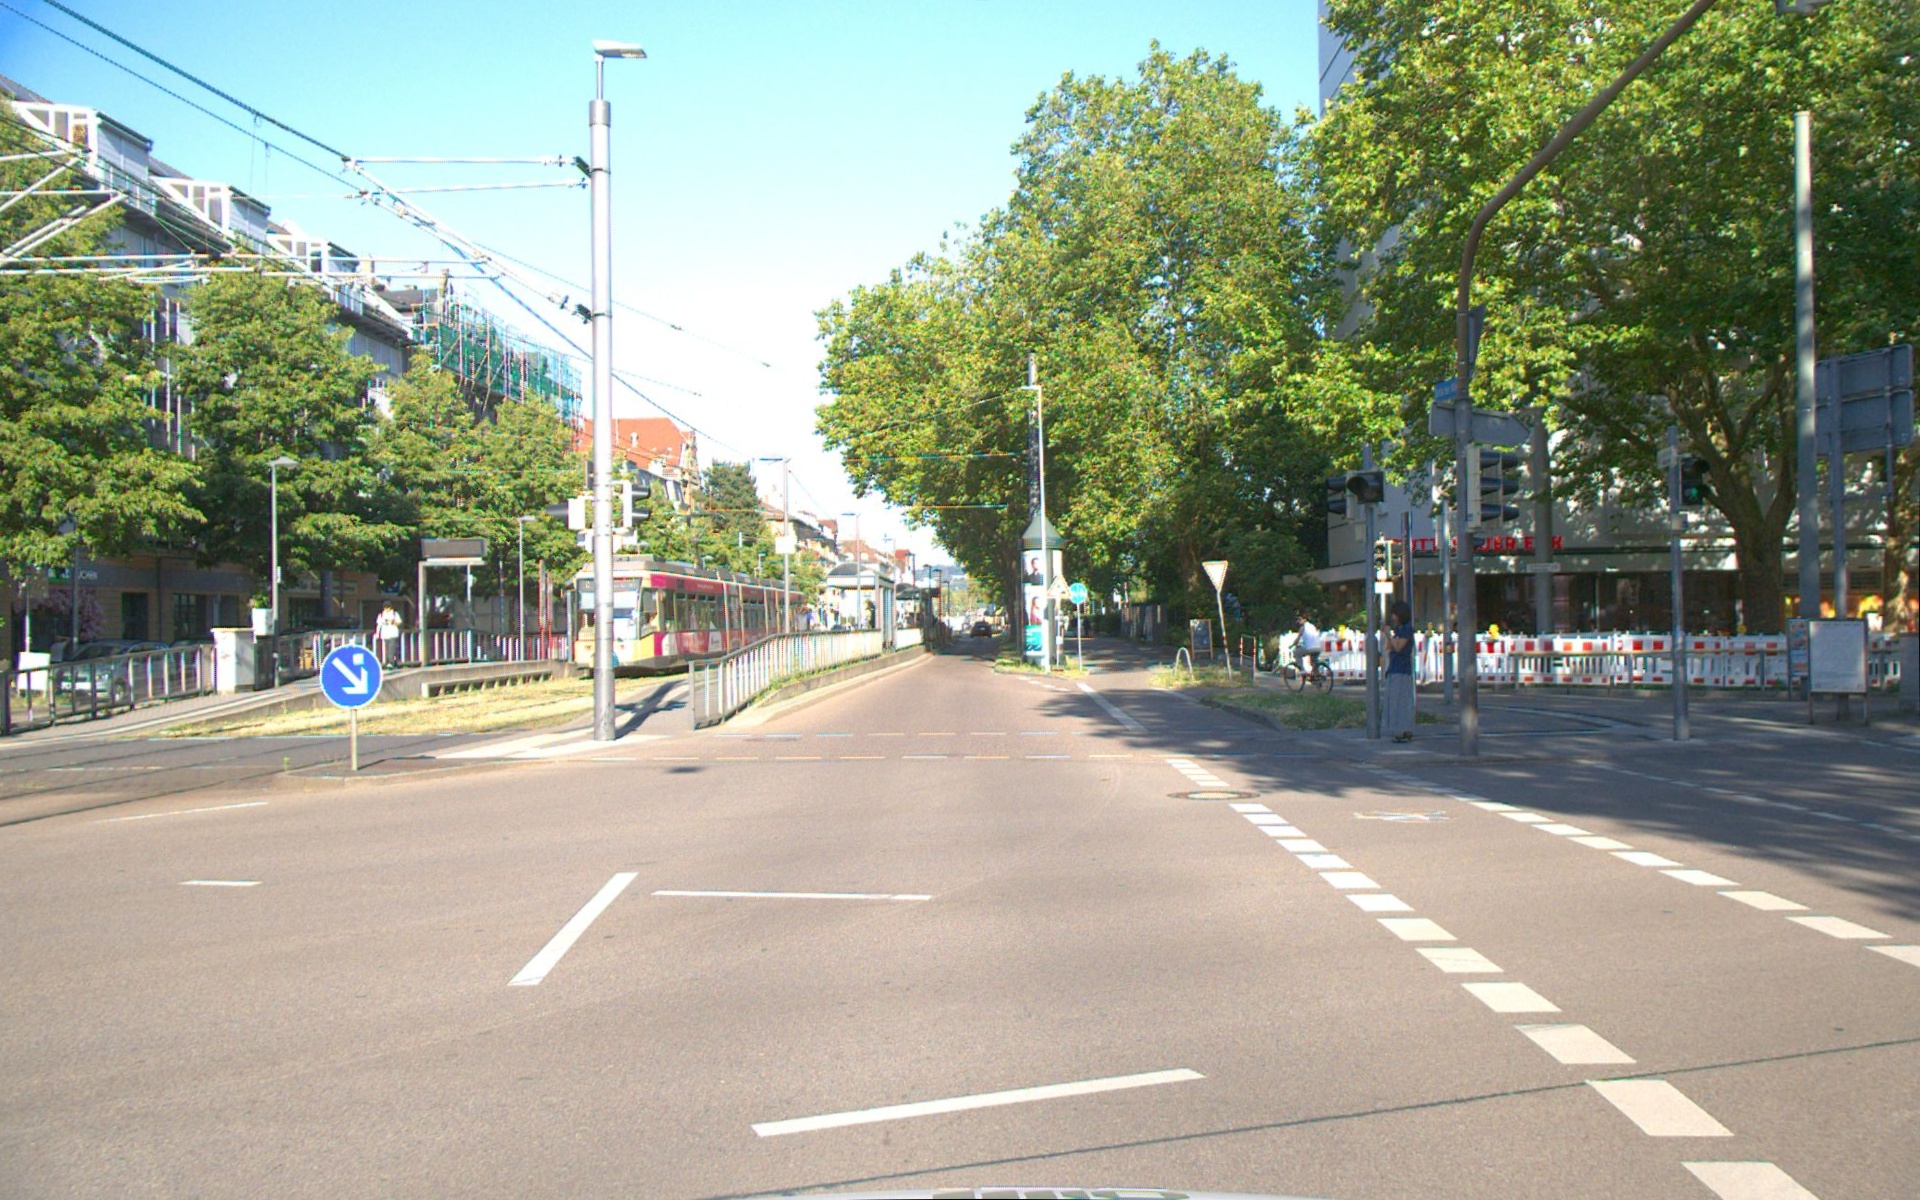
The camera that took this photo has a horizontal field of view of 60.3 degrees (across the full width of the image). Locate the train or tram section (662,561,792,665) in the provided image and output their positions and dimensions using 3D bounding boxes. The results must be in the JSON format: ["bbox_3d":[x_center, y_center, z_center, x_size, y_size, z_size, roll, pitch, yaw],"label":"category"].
[{"bbox_3d":[-9.249,0.583,67.676,2.810,3.750,14.562,-1,-1,1],"label":"train or tram section"}]

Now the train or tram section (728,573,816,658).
[{"bbox_3d":[-8.941,0.777,79.788,2.810,3.750,9.685,-1,-1,1],"label":"train or tram section"}]

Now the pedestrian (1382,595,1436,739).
[{"bbox_3d":[5.302,0.780,19.566,0.419,1.668,0.612,0,-1,-6],"label":"pedestrian"}]

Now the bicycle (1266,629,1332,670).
[{"bbox_3d":[9.113,1.316,44.582,0.597,1.044,1.933,-1,0,-30],"label":"bicycle"}]

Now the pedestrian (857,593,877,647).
[{"bbox_3d":[-3.437,0.735,60.882,0.655,1.936,0.824,1,-1,0],"label":"pedestrian"}]

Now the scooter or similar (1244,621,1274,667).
[{"bbox_3d":[8.542,1.251,47.261,0.549,1.279,1.289,-2,-1,-2],"label":"scooter or similar"}]

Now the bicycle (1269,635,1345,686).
[{"bbox_3d":[7.342,1.276,35.070,0.596,1.044,1.751,-1,-1,-27],"label":"bicycle"}]

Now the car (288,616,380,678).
[{"bbox_3d":[-23.262,1.728,61.579,1.900,2.204,3.785,1,-1,1],"label":"car"}]

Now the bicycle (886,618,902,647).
[{"bbox_3d":[-2.683,1.333,67.603,0.502,1.153,2.104,1,-1,1],"label":"bicycle"}]

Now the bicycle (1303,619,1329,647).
[{"bbox_3d":[15.618,1.450,72.559,0.772,1.198,1.820,1,-1,1],"label":"bicycle"}]

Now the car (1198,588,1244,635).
[{"bbox_3d":[15.005,0.688,95.330,1.952,2.543,6.348,1,-1,3],"label":"car"}]

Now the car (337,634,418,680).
[{"bbox_3d":[-23.137,2.240,65.838,1.769,1.759,3.785,1,-1,1],"label":"car"}]

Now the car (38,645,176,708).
[{"bbox_3d":[-23.557,2.085,45.824,1.769,1.606,3.785,1,-1,1],"label":"car"}]

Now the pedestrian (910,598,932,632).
[{"bbox_3d":[-2.036,0.762,86.243,0.899,1.752,0.624,1,-1,-32],"label":"pedestrian"}]

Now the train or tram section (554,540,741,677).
[{"bbox_3d":[-9.646,0.351,53.140,2.810,3.740,14.562,-1,-1,1],"label":"train or tram section"}]

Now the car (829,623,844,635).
[{"bbox_3d":[-19.018,4.458,255.166,1.974,1.784,4.558,1,0,1],"label":"car"}]

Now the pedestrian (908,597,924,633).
[{"bbox_3d":[-2.249,0.764,84.525,0.749,1.789,0.695,1,-1,1],"label":"pedestrian"}]

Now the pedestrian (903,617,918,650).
[{"bbox_3d":[-2.400,1.639,80.854,0.664,1.589,0.851,1,-1,1],"label":"pedestrian"}]

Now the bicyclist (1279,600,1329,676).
[{"bbox_3d":[7.303,0.805,35.125,0.596,1.578,0.852,-1,-1,-27],"label":"bicyclist"}]

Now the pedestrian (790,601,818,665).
[{"bbox_3d":[-4.060,0.860,42.969,0.616,1.638,0.982,1,-1,0],"label":"pedestrian"}]

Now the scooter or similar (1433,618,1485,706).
[{"bbox_3d":[7.536,0.922,25.012,0.548,1.279,1.291,-2,-1,9],"label":"scooter or similar"}]

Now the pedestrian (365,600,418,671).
[{"bbox_3d":[-13.175,0.829,38.333,0.881,1.608,0.958,1,-1,-1],"label":"pedestrian"}]

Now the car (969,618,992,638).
[{"bbox_3d":[1.811,2.495,146.161,1.952,1.713,4.000,1,-1,1],"label":"car"}]
